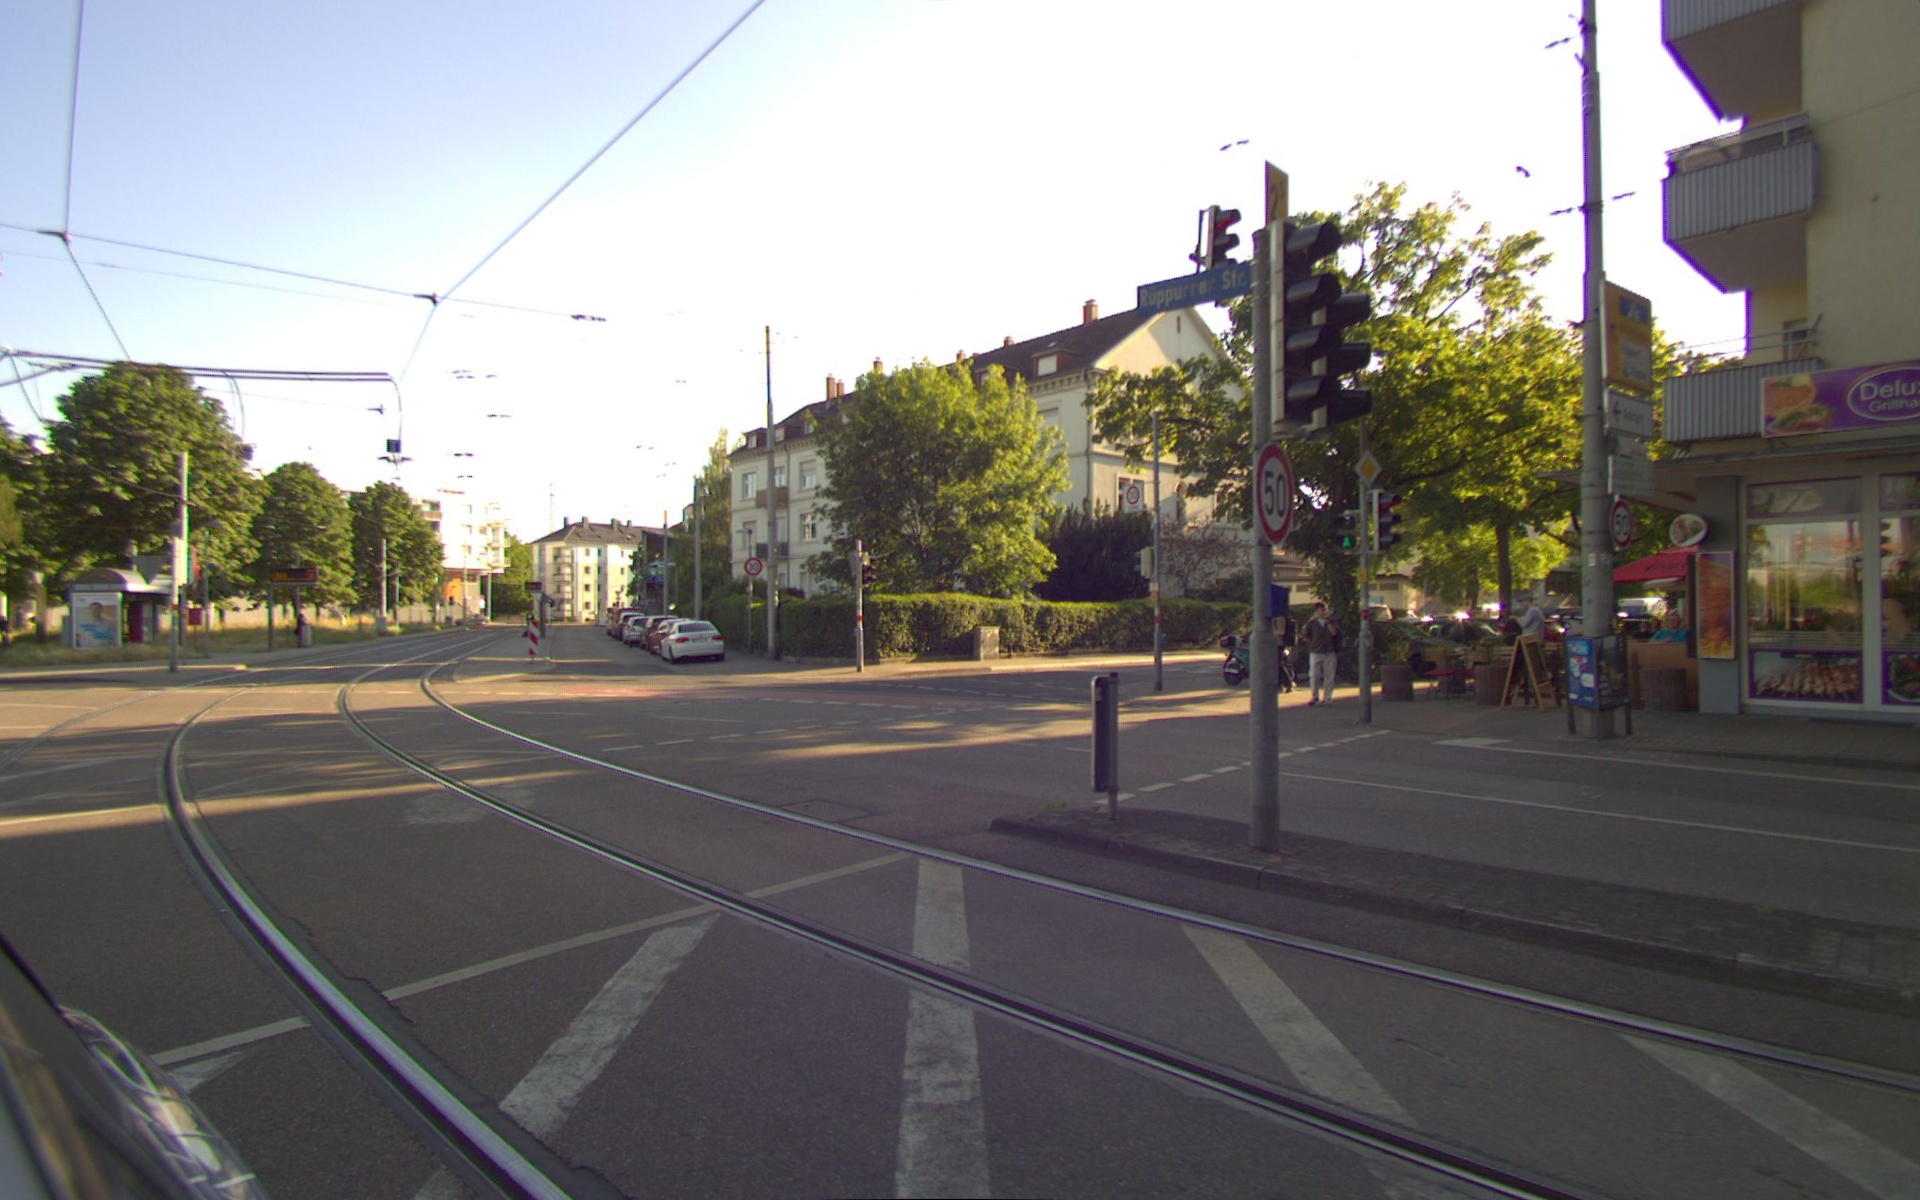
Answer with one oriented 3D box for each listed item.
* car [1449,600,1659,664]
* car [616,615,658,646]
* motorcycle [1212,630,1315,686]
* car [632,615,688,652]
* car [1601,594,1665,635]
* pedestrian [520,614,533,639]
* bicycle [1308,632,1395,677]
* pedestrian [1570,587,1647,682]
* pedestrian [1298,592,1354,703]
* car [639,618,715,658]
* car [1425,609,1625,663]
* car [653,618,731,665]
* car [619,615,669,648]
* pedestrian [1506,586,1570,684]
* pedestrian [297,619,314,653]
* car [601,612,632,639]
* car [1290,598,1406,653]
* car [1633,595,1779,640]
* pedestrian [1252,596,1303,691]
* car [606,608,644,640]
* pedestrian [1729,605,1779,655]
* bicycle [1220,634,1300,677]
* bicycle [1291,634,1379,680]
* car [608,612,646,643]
[{"bbox_3d":[19.679,1.049,33.727,2.327,1.938,5.643,3,-3,-44],"label":"car"},{"bbox_3d":[-17.112,1.588,53.533,1.813,1.458,3.972,-2,0,-22],"label":"car"},{"bbox_3d":[6.469,1.211,21.651,1.958,1.118,0.825,-1,-1,44],"label":"motorcycle"},{"bbox_3d":[-13.407,1.438,45.079,1.953,1.458,4.721,-2,0,-22],"label":"car"},{"bbox_3d":[42.947,0.909,64.506,5.231,2.534,2.364,1,-1,-45],"label":"car"},{"bbox_3d":[-26.750,1.630,62.449,0.559,1.512,0.680,0,-1,-9],"label":"pedestrian"},{"bbox_3d":[8.690,1.193,22.499,0.553,0.939,1.731,0,-1,-41],"label":"bicycle"},{"bbox_3d":[12.404,0.646,19.370,0.899,1.785,0.815,0,-1,-9],"label":"pedestrian"},{"bbox_3d":[5.974,0.759,16.550,0.685,1.764,0.838,0,-1,8],"label":"pedestrian"},{"bbox_3d":[-11.092,1.428,39.479,1.953,1.387,4.721,-2,0,-26],"label":"car"},{"bbox_3d":[17.775,1.128,32.027,2.327,1.569,5.111,3,-3,-44],"label":"car"},{"bbox_3d":[-9.238,1.360,34.591,1.897,1.387,4.512,-2,0,-23],"label":"car"},{"bbox_3d":[-15.403,1.500,49.227,1.953,1.458,3.731,-2,0,-22],"label":"car"},{"bbox_3d":[10.801,0.642,18.911,0.912,1.785,0.804,-1,-1,37],"label":"pedestrian"},{"bbox_3d":[-28.679,1.574,44.346,0.587,1.438,0.507,0,-1,-29],"label":"pedestrian"},{"bbox_3d":[-27.295,1.948,80.293,2.021,1.976,5.168,-2,0,-22],"label":"car"},{"bbox_3d":[15.486,0.976,40.268,5.231,2.029,2.364,1,-1,-45],"label":"car"},{"bbox_3d":[34.351,0.827,46.707,2.327,1.938,5.111,3,-3,-44],"label":"car"},{"bbox_3d":[6.042,0.811,19.273,0.792,1.764,0.686,-1,-1,30],"label":"pedestrian"},{"bbox_3d":[-22.191,1.539,66.858,2.021,1.976,5.168,-2,0,-22],"label":"car"},{"bbox_3d":[19.570,0.725,24.944,1.104,1.209,0.756,0,-1,-41],"label":"pedestrian"},{"bbox_3d":[7.085,1.292,23.954,0.662,0.939,1.731,0,-1,-41],"label":"bicycle"},{"bbox_3d":[8.132,1.213,21.989,0.553,0.939,1.731,0,-1,-41],"label":"bicycle"},{"bbox_3d":[-20.027,1.624,60.750,1.813,1.680,4.384,-2,0,-22],"label":"car"}]
